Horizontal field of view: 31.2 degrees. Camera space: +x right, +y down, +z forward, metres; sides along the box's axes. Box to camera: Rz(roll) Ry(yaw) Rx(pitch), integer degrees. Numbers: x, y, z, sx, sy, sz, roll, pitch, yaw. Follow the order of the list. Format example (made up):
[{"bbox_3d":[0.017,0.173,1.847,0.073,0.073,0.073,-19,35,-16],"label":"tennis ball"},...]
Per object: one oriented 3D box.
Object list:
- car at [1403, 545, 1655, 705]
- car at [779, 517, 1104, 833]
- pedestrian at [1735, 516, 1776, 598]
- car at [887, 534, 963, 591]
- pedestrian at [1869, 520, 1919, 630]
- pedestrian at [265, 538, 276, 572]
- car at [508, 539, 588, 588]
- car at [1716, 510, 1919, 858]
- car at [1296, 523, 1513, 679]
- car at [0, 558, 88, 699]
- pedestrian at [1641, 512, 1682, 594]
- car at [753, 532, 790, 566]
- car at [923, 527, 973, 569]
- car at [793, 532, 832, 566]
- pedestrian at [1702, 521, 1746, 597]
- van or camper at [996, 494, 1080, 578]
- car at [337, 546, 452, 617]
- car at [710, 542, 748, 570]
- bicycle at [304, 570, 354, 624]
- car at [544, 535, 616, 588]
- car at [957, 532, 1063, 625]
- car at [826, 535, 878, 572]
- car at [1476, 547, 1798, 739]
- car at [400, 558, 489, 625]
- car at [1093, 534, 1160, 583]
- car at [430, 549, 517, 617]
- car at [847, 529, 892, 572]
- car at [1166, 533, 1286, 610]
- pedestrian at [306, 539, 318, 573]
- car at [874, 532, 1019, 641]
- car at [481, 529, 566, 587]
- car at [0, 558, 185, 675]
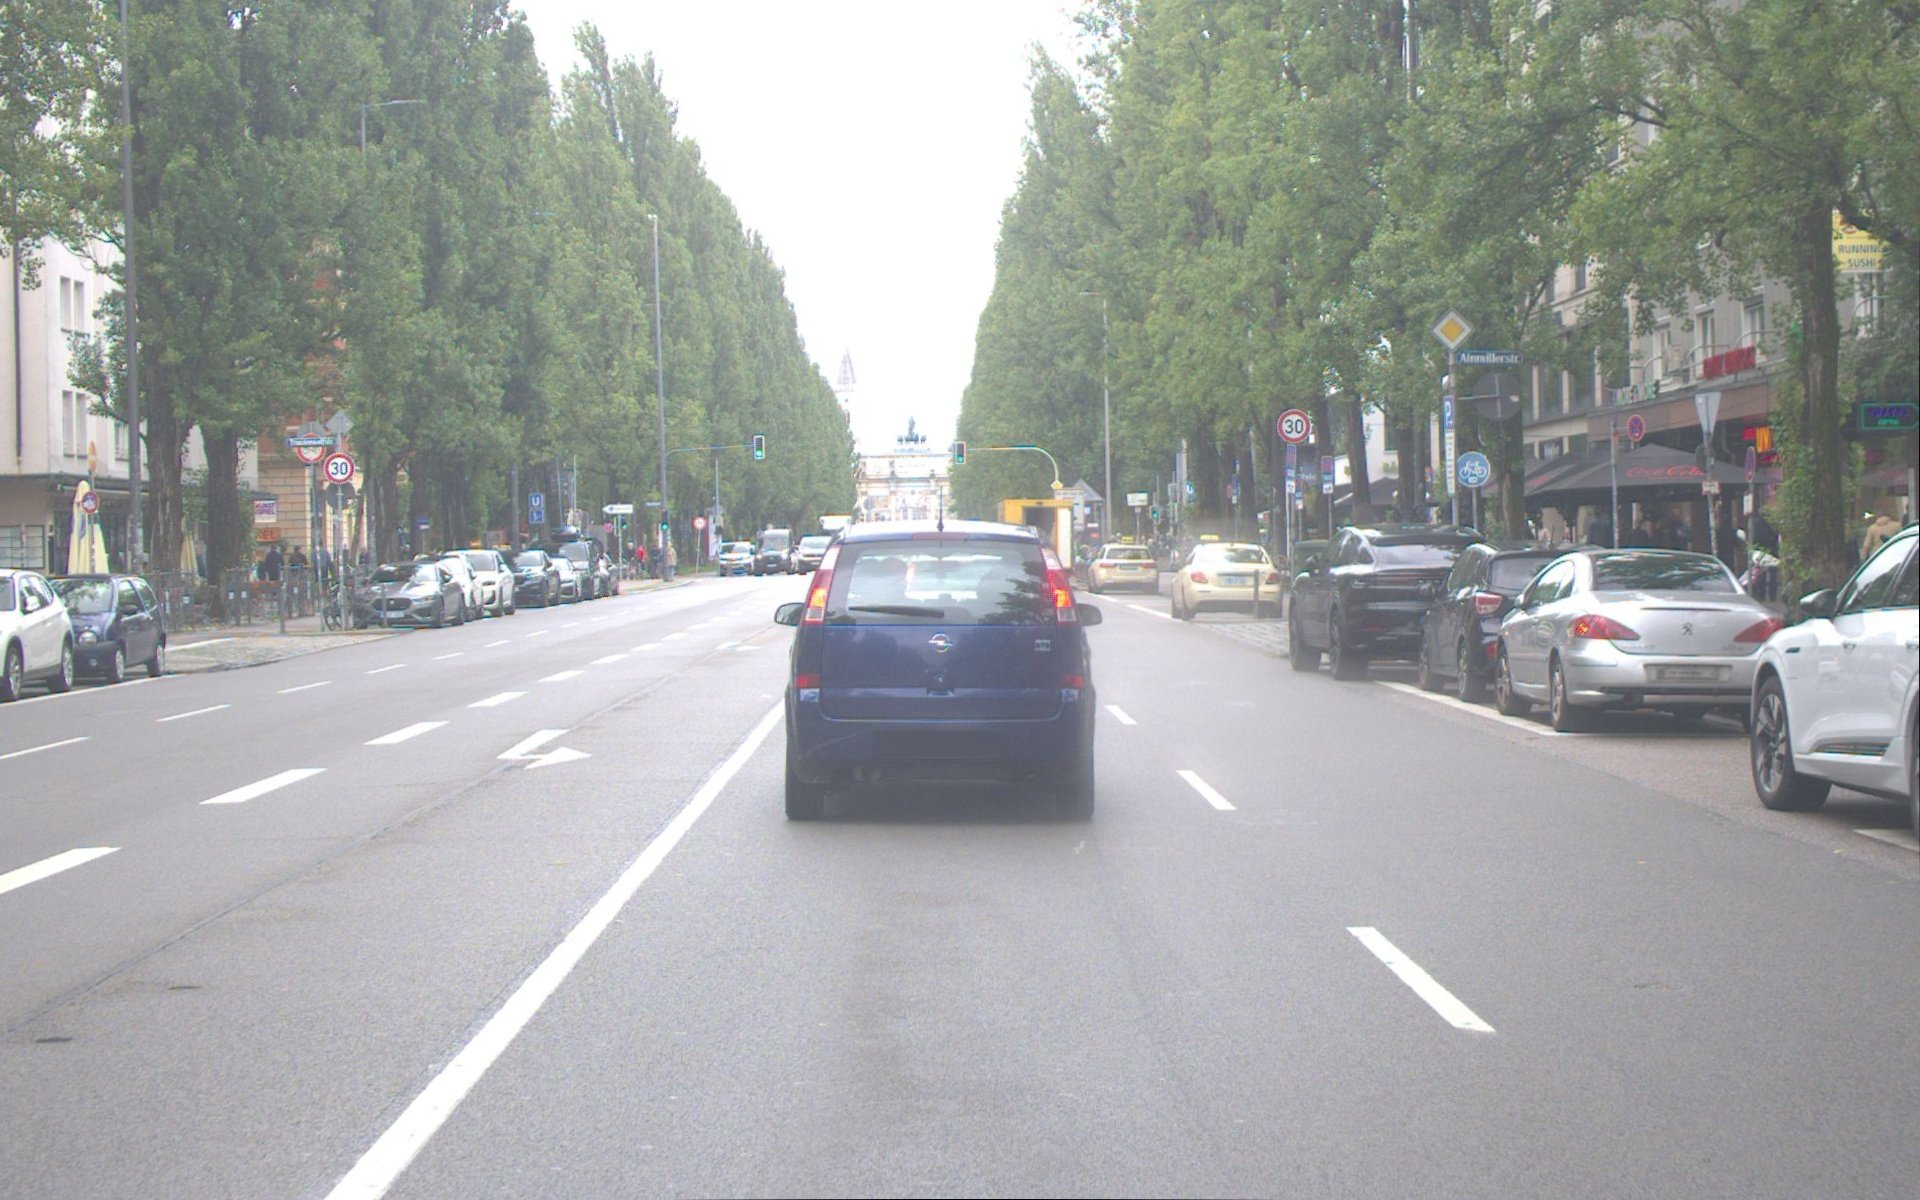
[{"bbox_3d":[5.312,0.195,32.480,1.681,1.410,3.583,1,1,-1],"label":"car"},{"bbox_3d":[-0.153,0.345,19.791,1.681,1.635,4.000,0,1,-2],"label":"car"},{"bbox_3d":[15.041,-0.813,64.991,0.640,1.521,0.484,-1,1,0],"label":"pedestrian"},{"bbox_3d":[-0.975,-1.048,94.167,1.993,1.492,4.000,-1,1,-2],"label":"car"},{"bbox_3d":[15.020,-0.408,55.095,0.653,1.745,0.860,0,1,0],"label":"pedestrian"},{"bbox_3d":[-22.148,-1.434,110.430,0.289,1.086,0.258,-1,1,5],"label":"pedestrian"},{"bbox_3d":[-12.173,-1.103,101.814,1.961,1.394,3.779,-1,1,-1],"label":"car"},{"bbox_3d":[5.337,0.368,17.461,1.827,1.615,4.748,0,1,-1],"label":"car"},{"bbox_3d":[4.821,-0.026,37.785,1.797,1.588,4.104,1,1,0],"label":"car"},{"bbox_3d":[-11.577,0.313,40.246,1.835,1.541,4.087,-1,1,-3],"label":"car"},{"bbox_3d":[13.077,-0.876,64.124,0.640,1.521,0.484,-1,1,0],"label":"pedestrian"},{"bbox_3d":[-10.009,-2.711,182.590,1.835,1.733,3.779,-1,1,-1],"label":"car"},{"bbox_3d":[-0.494,-2.163,141.835,1.961,1.671,3.779,-1,1,-1],"label":"car"},{"bbox_3d":[-7.329,-2.548,171.384,1.835,1.671,3.779,-1,1,-1],"label":"car"},{"bbox_3d":[15.031,-0.809,67.643,0.684,1.464,0.678,-1,1,0],"label":"pedestrian"},{"bbox_3d":[2.465,-2.054,109.980,2.476,2.572,5.845,-1,1,0],"label":"van or camper"},{"bbox_3d":[-11.969,-0.421,72.933,1.830,1.415,3.811,-1,1,-1],"label":"car"},{"bbox_3d":[-12.936,-2.484,192.673,1.961,1.543,3.779,-1,1,-1],"label":"car"},{"bbox_3d":[-12.326,-0.073,67.224,0.665,1.002,2.462,-1,1,-4],"label":"bicycle"},{"bbox_3d":[-12.409,-1.261,112.476,1.993,1.656,4.000,-1,1,-1],"label":"car"},{"bbox_3d":[0.857,-0.411,61.336,1.706,1.568,4.000,-1,1,-1],"label":"car"},{"bbox_3d":[-4.190,-1.811,133.857,1.961,1.394,3.779,-1,1,-1],"label":"car"},{"bbox_3d":[5.360,0.292,27.717,1.670,1.401,4.128,1,1,-1],"label":"car"},{"bbox_3d":[-11.797,-0.210,78.867,1.547,1.448,3.458,-1,1,-1],"label":"car"},{"bbox_3d":[4.793,-1.200,99.300,1.669,1.348,4.104,-1,1,0],"label":"car"},{"bbox_3d":[-11.826,-0.434,83.785,1.654,1.556,3.458,-1,1,-1],"label":"car"},{"bbox_3d":[-3.833,-2.123,146.004,1.835,1.755,3.779,-1,1,-1],"label":"car"},{"bbox_3d":[4.975,-0.560,64.718,1.897,1.358,3.900,-1,1,0],"label":"car"},{"bbox_3d":[-20.642,-1.412,109.573,0.289,1.086,0.258,-1,1,5],"label":"pedestrian"},{"bbox_3d":[-0.237,-0.234,50.377,1.993,1.492,4.000,-1,1,-2],"label":"car"},{"bbox_3d":[-12.101,-1.178,95.582,1.961,1.525,4.000,-1,1,-2],"label":"car"},{"bbox_3d":[-11.482,0.190,45.480,1.586,1.442,3.391,-1,1,2],"label":"car"}]
